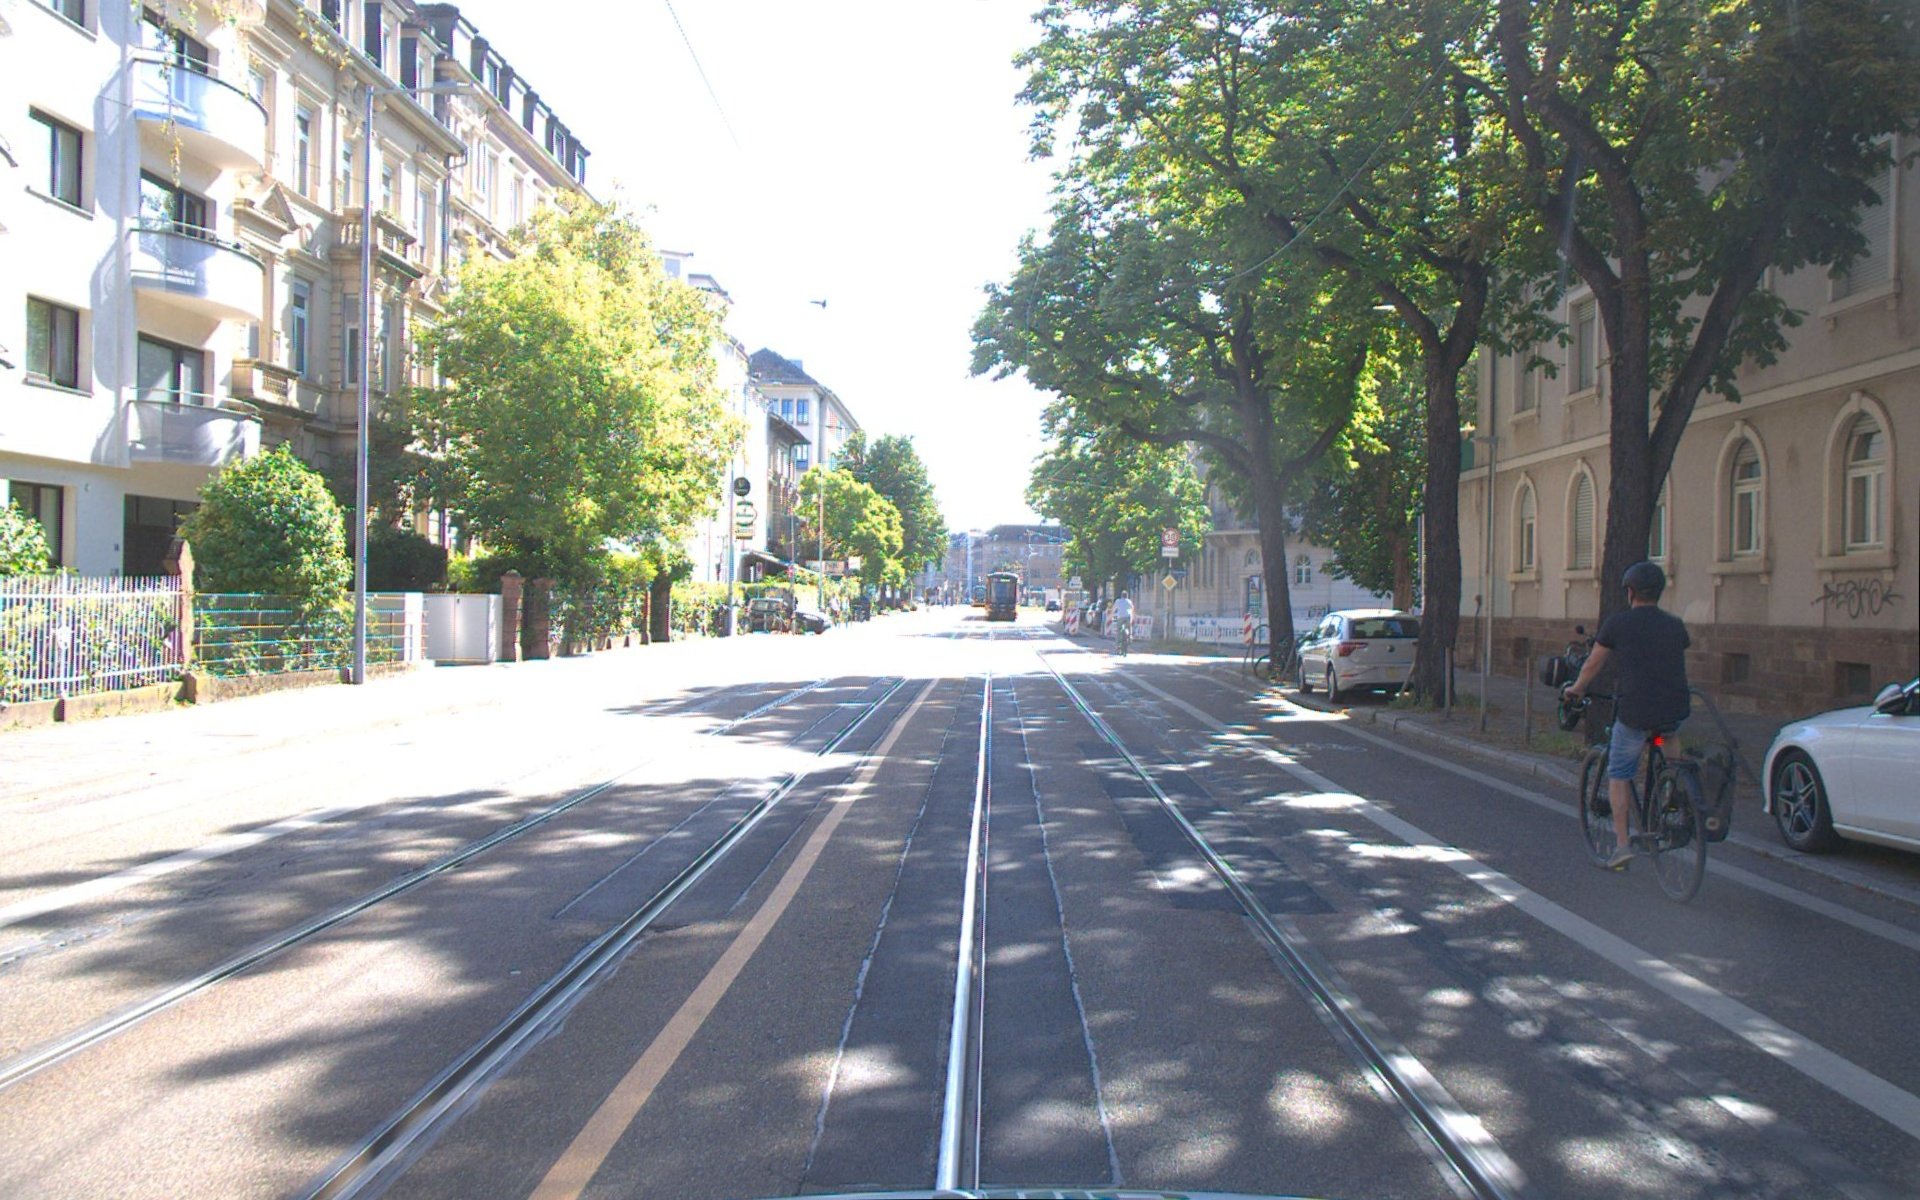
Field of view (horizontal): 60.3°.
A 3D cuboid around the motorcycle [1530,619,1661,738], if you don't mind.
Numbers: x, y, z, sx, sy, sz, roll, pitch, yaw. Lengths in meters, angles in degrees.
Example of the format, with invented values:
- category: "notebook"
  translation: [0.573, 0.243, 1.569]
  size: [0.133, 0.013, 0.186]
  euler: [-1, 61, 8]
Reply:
- category: "motorcycle"
  translation: [7.296, 0.864, 19.099]
  size: [0.695, 1.265, 2.185]
  euler: [0, 0, 1]

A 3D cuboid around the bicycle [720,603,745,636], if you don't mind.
- category: "bicycle"
  translation: [-8.069, 0.673, 58.575]
  size: [0.622, 1.088, 1.824]
  euler: [2, 0, -15]

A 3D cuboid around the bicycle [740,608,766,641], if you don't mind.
- category: "bicycle"
  translation: [-7.472, 0.879, 59.575]
  size: [0.622, 1.088, 1.823]
  euler: [2, 0, -16]

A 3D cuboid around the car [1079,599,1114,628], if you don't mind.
- category: "car"
  translation: [7.752, 0.755, 94.220]
  size: [1.718, 1.579, 3.677]
  euler: [2, 0, 1]

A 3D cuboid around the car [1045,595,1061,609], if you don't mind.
- category: "car"
  translation: [11.760, 0.255, 208.709]
  size: [1.833, 1.691, 3.515]
  euler: [2, 0, 1]

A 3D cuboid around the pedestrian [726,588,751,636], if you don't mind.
- category: "pedestrian"
  translation: [-8.266, 0.456, 61.830]
  size: [0.754, 1.742, 0.669]
  euler: [2, 0, 1]

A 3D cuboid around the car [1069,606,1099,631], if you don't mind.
- category: "car"
  translation: [8.307, 1.208, 110.754]
  size: [1.718, 1.579, 3.677]
  euler: [2, 0, 1]

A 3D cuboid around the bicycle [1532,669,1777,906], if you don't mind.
- category: "bicycle"
  translation: [3.915, 1.014, 9.479]
  size: [0.677, 1.132, 1.719]
  euler: [2, 0, 1]

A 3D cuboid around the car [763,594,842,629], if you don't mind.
- category: "car"
  translation: [-6.775, 0.503, 70.904]
  size: [1.743, 1.445, 3.529]
  euler: [2, -2, -39]

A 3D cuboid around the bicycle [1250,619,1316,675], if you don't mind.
- category: "bicycle"
  translation: [6.492, 0.944, 33.293]
  size: [1.243, 1.042, 0.704]
  euler: [2, -1, 9]

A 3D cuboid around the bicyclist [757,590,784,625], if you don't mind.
- category: "bicyclist"
  translation: [-7.364, 0.296, 64.260]
  size: [0.756, 1.314, 0.733]
  euler: [2, 0, 17]

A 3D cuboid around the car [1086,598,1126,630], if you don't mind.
- category: "car"
  translation: [7.525, 0.703, 85.605]
  size: [1.718, 1.579, 3.677]
  euler: [2, 0, 1]

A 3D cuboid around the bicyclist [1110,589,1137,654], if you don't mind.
- category: "bicyclist"
  translation: [4.707, 0.609, 47.617]
  size: [0.632, 1.827, 0.956]
  euler: [2, 0, 1]

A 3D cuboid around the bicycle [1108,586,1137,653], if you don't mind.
- category: "bicycle"
  translation: [4.742, 0.560, 48.291]
  size: [0.649, 1.891, 2.260]
  euler: [2, 0, 2]

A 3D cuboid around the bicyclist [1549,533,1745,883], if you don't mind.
- category: "bicyclist"
  translation: [3.889, 0.588, 9.423]
  size: [0.712, 1.880, 0.837]
  euler: [2, 0, 0]

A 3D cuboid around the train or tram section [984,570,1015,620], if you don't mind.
- category: "train or tram section"
  translation: [2.905, -0.363, 122.344]
  size: [2.109, 3.491, 6.612]
  euler: [2, 0, 1]

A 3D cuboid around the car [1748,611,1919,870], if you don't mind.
- category: "car"
  translation: [6.314, 0.821, 9.117]
  size: [1.595, 1.461, 4.663]
  euler: [0, 0, -2]

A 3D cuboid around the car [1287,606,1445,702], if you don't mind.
- category: "car"
  translation: [6.711, 0.849, 27.748]
  size: [1.712, 1.445, 4.000]
  euler: [0, 0, 1]

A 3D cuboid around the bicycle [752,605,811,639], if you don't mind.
- category: "bicycle"
  translation: [-6.932, 0.845, 64.133]
  size: [2.094, 1.191, 0.803]
  euler: [2, 0, 16]
